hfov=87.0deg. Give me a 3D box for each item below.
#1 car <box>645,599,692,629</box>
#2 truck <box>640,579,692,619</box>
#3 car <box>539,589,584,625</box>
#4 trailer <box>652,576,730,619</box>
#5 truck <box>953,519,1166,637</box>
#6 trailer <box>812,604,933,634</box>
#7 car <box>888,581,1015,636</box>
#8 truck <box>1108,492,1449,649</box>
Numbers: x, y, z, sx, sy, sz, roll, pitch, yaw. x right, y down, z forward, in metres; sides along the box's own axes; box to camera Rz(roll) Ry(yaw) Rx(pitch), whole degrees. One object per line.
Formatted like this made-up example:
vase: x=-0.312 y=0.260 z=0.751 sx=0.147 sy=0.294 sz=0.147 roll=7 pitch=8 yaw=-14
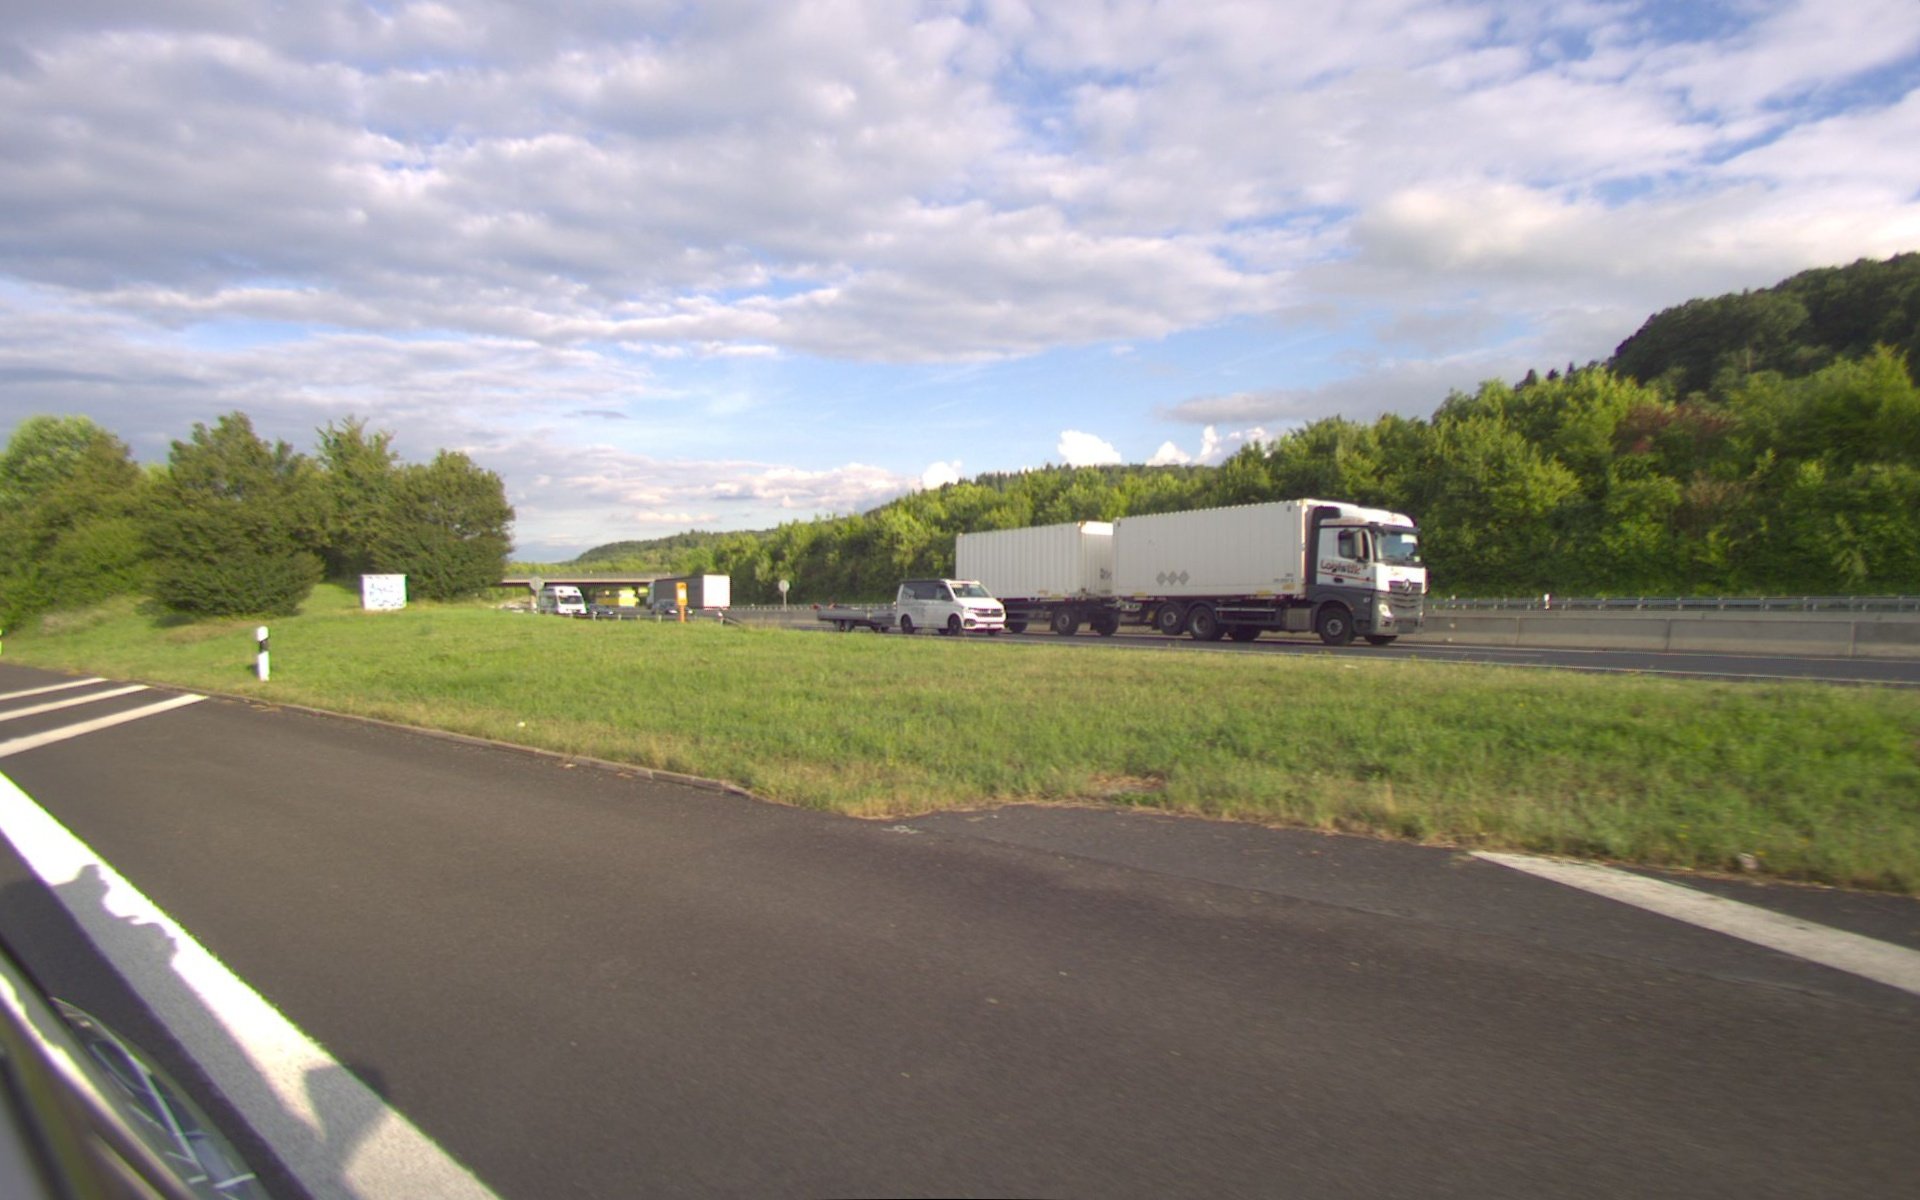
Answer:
car: x=-20.081 y=0.967 z=69.638 sx=1.851 sy=1.948 sz=4.099 roll=-1 pitch=0 yaw=-34
truck: x=-30.741 y=-0.088 z=105.479 sx=2.905 sy=3.917 sz=7.103 roll=-2 pitch=1 yaw=-36
car: x=-30.512 y=0.534 z=77.394 sx=1.967 sy=2.569 sz=5.797 roll=-1 pitch=0 yaw=-34
trailer: x=-26.717 y=-0.162 z=99.883 sx=2.905 sy=3.917 sz=13.005 roll=-2 pitch=1 yaw=-36
truck: x=3.457 y=-0.720 z=38.309 sx=2.732 sy=3.935 sz=8.901 roll=-1 pitch=0 yaw=-36
trailer: x=-3.575 y=0.732 z=40.128 sx=1.967 sy=1.043 sz=5.896 roll=-1 pitch=0 yaw=-36
car: x=-0.397 y=0.299 z=35.782 sx=1.967 sy=1.789 sz=4.913 roll=-1 pitch=0 yaw=-36
truck: x=9.087 y=-0.730 z=30.658 sx=2.732 sy=3.977 sz=10.177 roll=-1 pitch=0 yaw=-36
